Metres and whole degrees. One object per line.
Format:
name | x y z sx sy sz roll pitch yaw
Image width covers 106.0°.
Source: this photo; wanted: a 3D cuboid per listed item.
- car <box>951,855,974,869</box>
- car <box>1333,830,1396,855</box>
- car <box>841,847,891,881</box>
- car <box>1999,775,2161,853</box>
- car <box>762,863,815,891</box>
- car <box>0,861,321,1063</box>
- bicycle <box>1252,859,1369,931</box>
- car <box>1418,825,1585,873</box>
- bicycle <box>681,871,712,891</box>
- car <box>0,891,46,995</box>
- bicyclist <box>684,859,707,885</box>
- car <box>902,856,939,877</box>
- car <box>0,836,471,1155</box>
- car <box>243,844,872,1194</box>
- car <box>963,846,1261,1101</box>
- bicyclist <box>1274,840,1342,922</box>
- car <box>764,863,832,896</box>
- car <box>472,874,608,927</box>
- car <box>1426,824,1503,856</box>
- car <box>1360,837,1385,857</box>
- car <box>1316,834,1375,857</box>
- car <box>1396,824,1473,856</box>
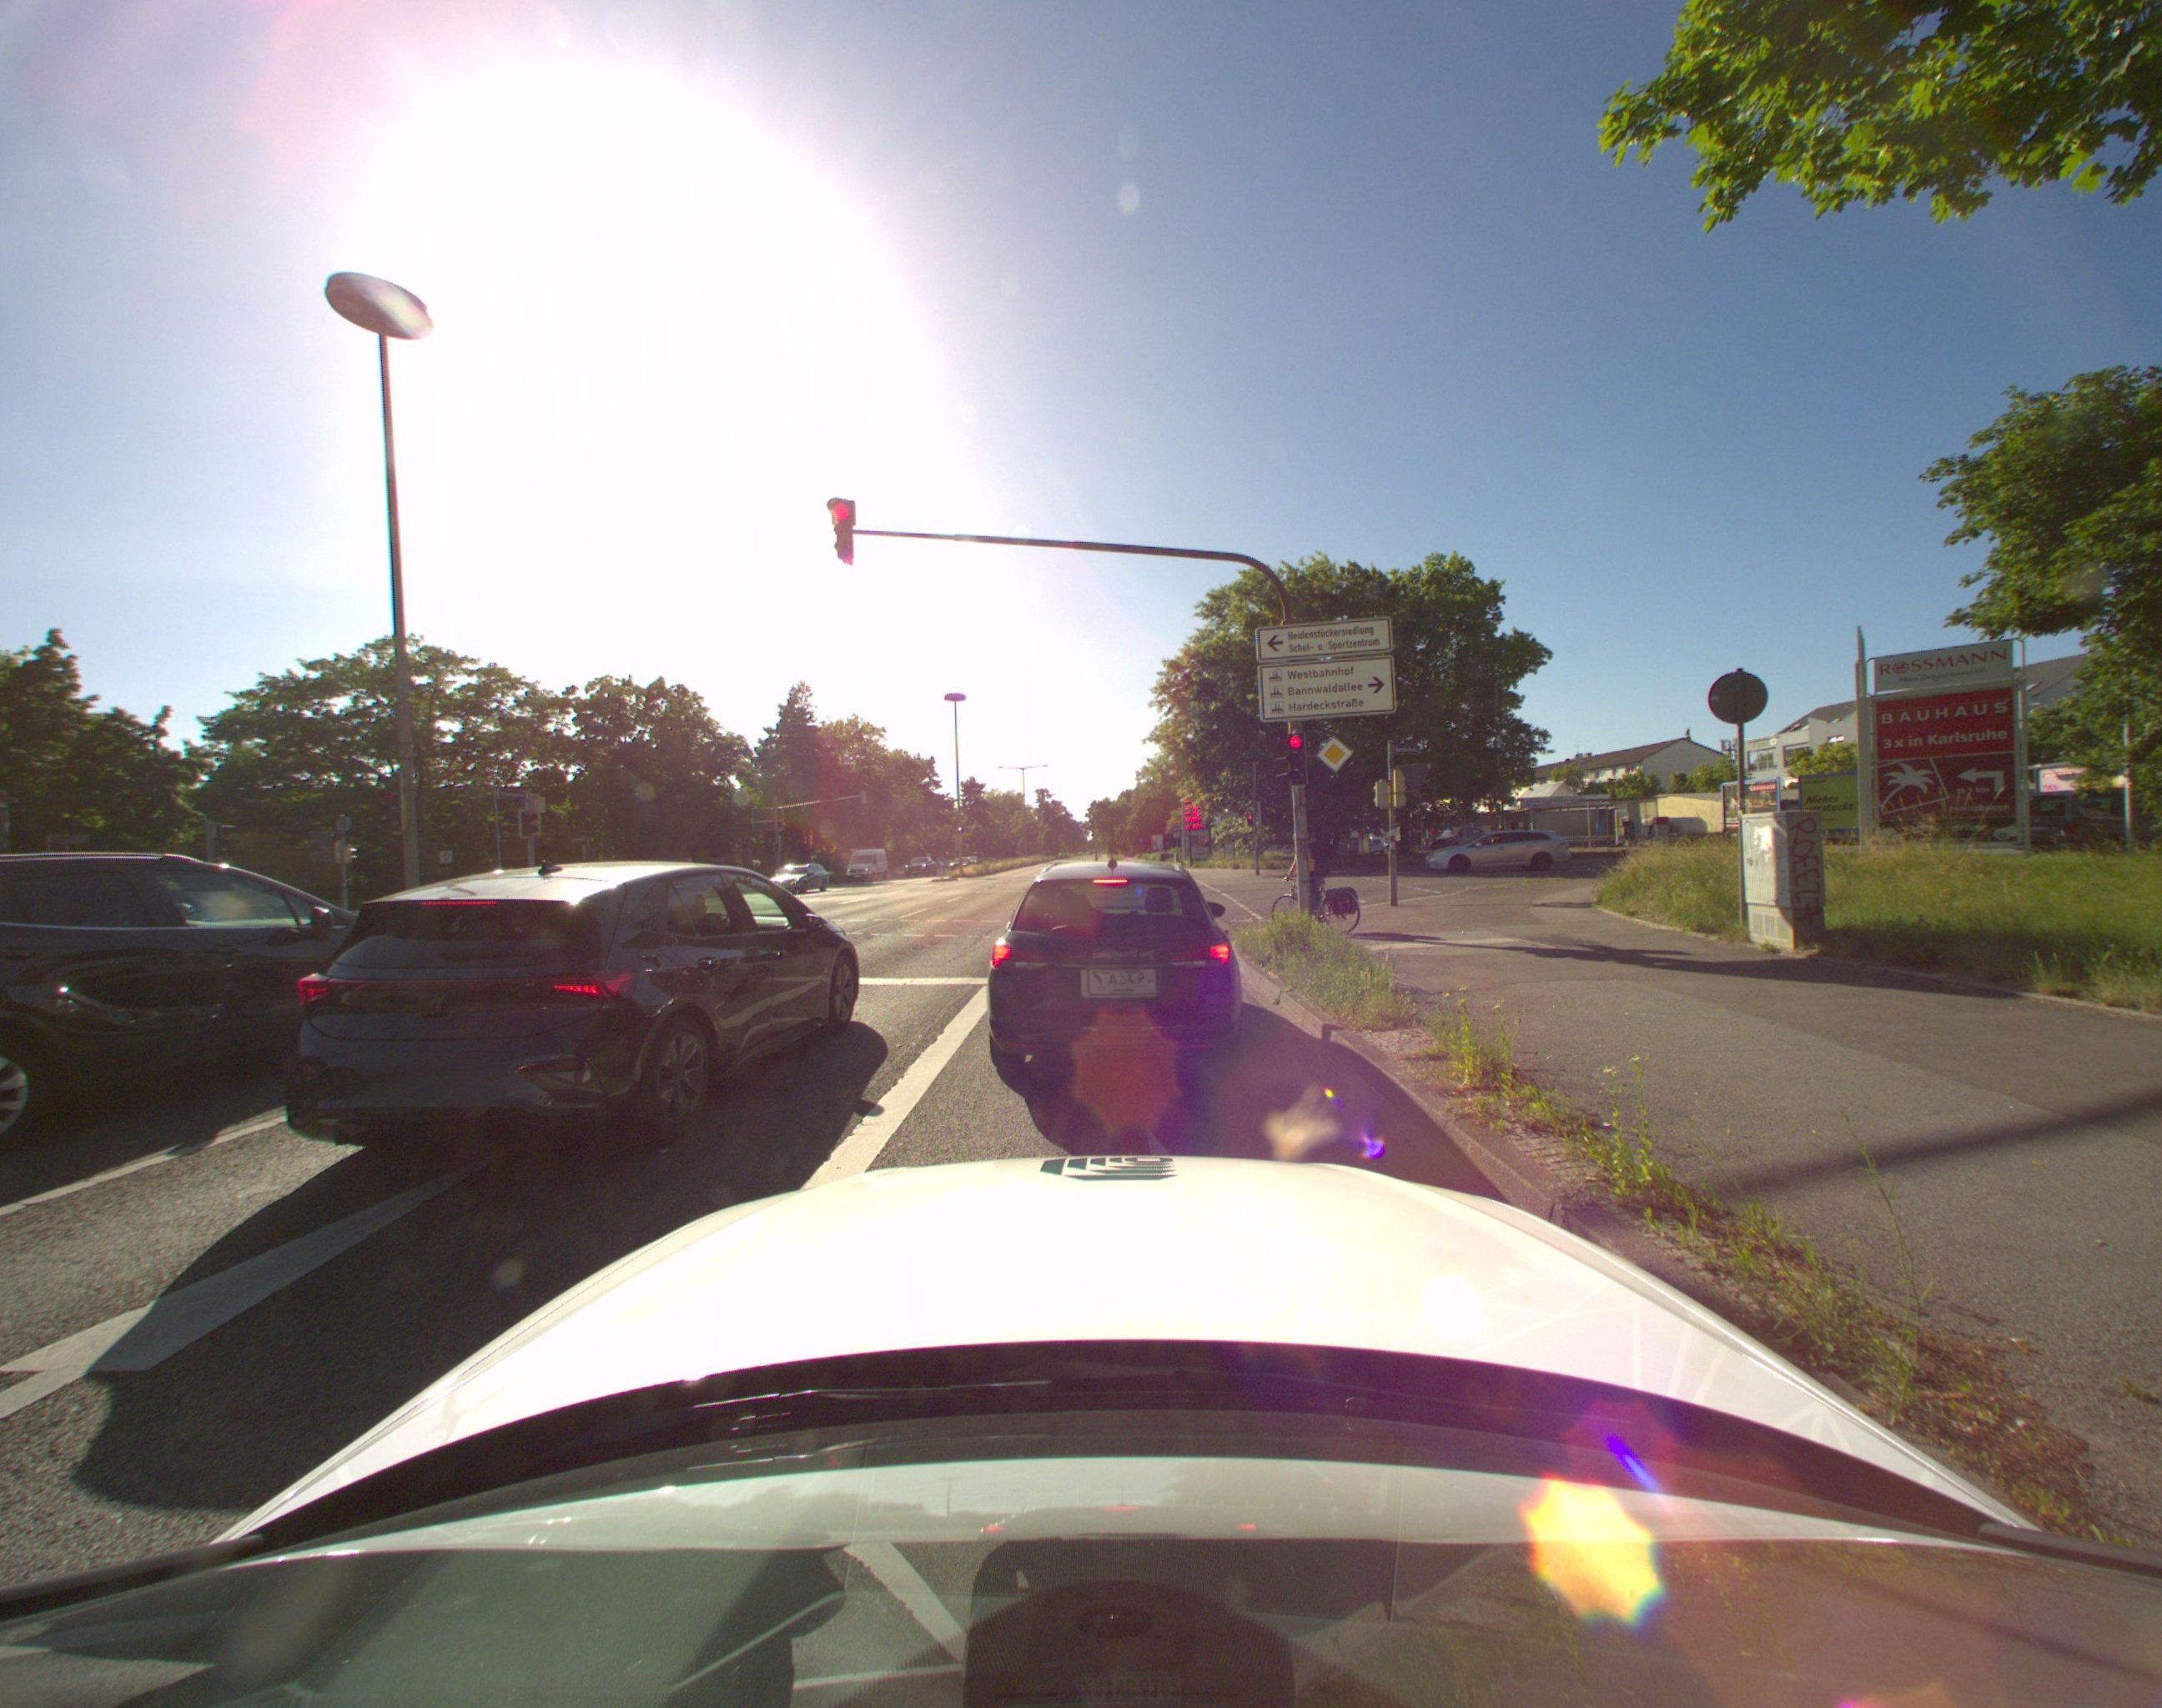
car | -13.101 0.849 90.447 1.769 1.463 4.166 -3 0 2
car | 19.667 -0.821 56.429 3.903 1.517 1.733 -3 0 -21
car | -17.036 0.720 64.919 2.092 2.492 6.006 -3 0 2
car | 29.330 -1.148 22.674 4.973 1.992 1.921 -3 0 6
car | -18.134 1.398 50.705 1.680 1.509 4.005 -3 0 2
car | -10.221 0.985 7.919 1.824 1.702 3.999 -3 0 0
bicycle | 3.734 0.687 13.369 0.541 1.097 1.755 -3 -2 -42
car | 14.967 -0.166 29.290 4.969 1.486 2.007 -2 0 13
bicycle | -25.486 1.798 53.995 0.873 1.212 2.534 -3 0 -2
car | -17.074 1.383 10.372 1.881 1.524 4.506 -3 0 2
bicyclist | -25.548 1.201 53.949 0.873 1.648 1.199 -3 0 0
car | -13.654 1.061 69.486 1.986 1.601 4.617 -3 0 2
car | -6.618 0.786 5.516 1.798 1.689 4.002 -3 0 2
car | -2.957 0.771 5.853 1.678 1.580 4.208 -1 0 2
car | 0.251 0.725 6.962 1.750 1.495 4.208 -1 0 2
bicyclist | 3.721 0.445 13.372 0.541 1.277 0.819 -3 -2 -42
car | -14.389 1.251 41.719 1.680 1.433 4.617 -3 0 2
car | -18.191 1.510 27.638 1.635 1.456 4.223 -3 0 2
car | 22.382 -0.813 47.522 4.002 1.680 1.733 -3 0 -21
car | 25.930 -0.646 72.490 1.727 1.680 4.016 -3 0 15
car | 19.332 -0.615 59.522 3.903 1.517 1.733 -3 0 -21
car | 21.445 -0.828 49.387 4.003 1.750 1.985 -3 0 -22
